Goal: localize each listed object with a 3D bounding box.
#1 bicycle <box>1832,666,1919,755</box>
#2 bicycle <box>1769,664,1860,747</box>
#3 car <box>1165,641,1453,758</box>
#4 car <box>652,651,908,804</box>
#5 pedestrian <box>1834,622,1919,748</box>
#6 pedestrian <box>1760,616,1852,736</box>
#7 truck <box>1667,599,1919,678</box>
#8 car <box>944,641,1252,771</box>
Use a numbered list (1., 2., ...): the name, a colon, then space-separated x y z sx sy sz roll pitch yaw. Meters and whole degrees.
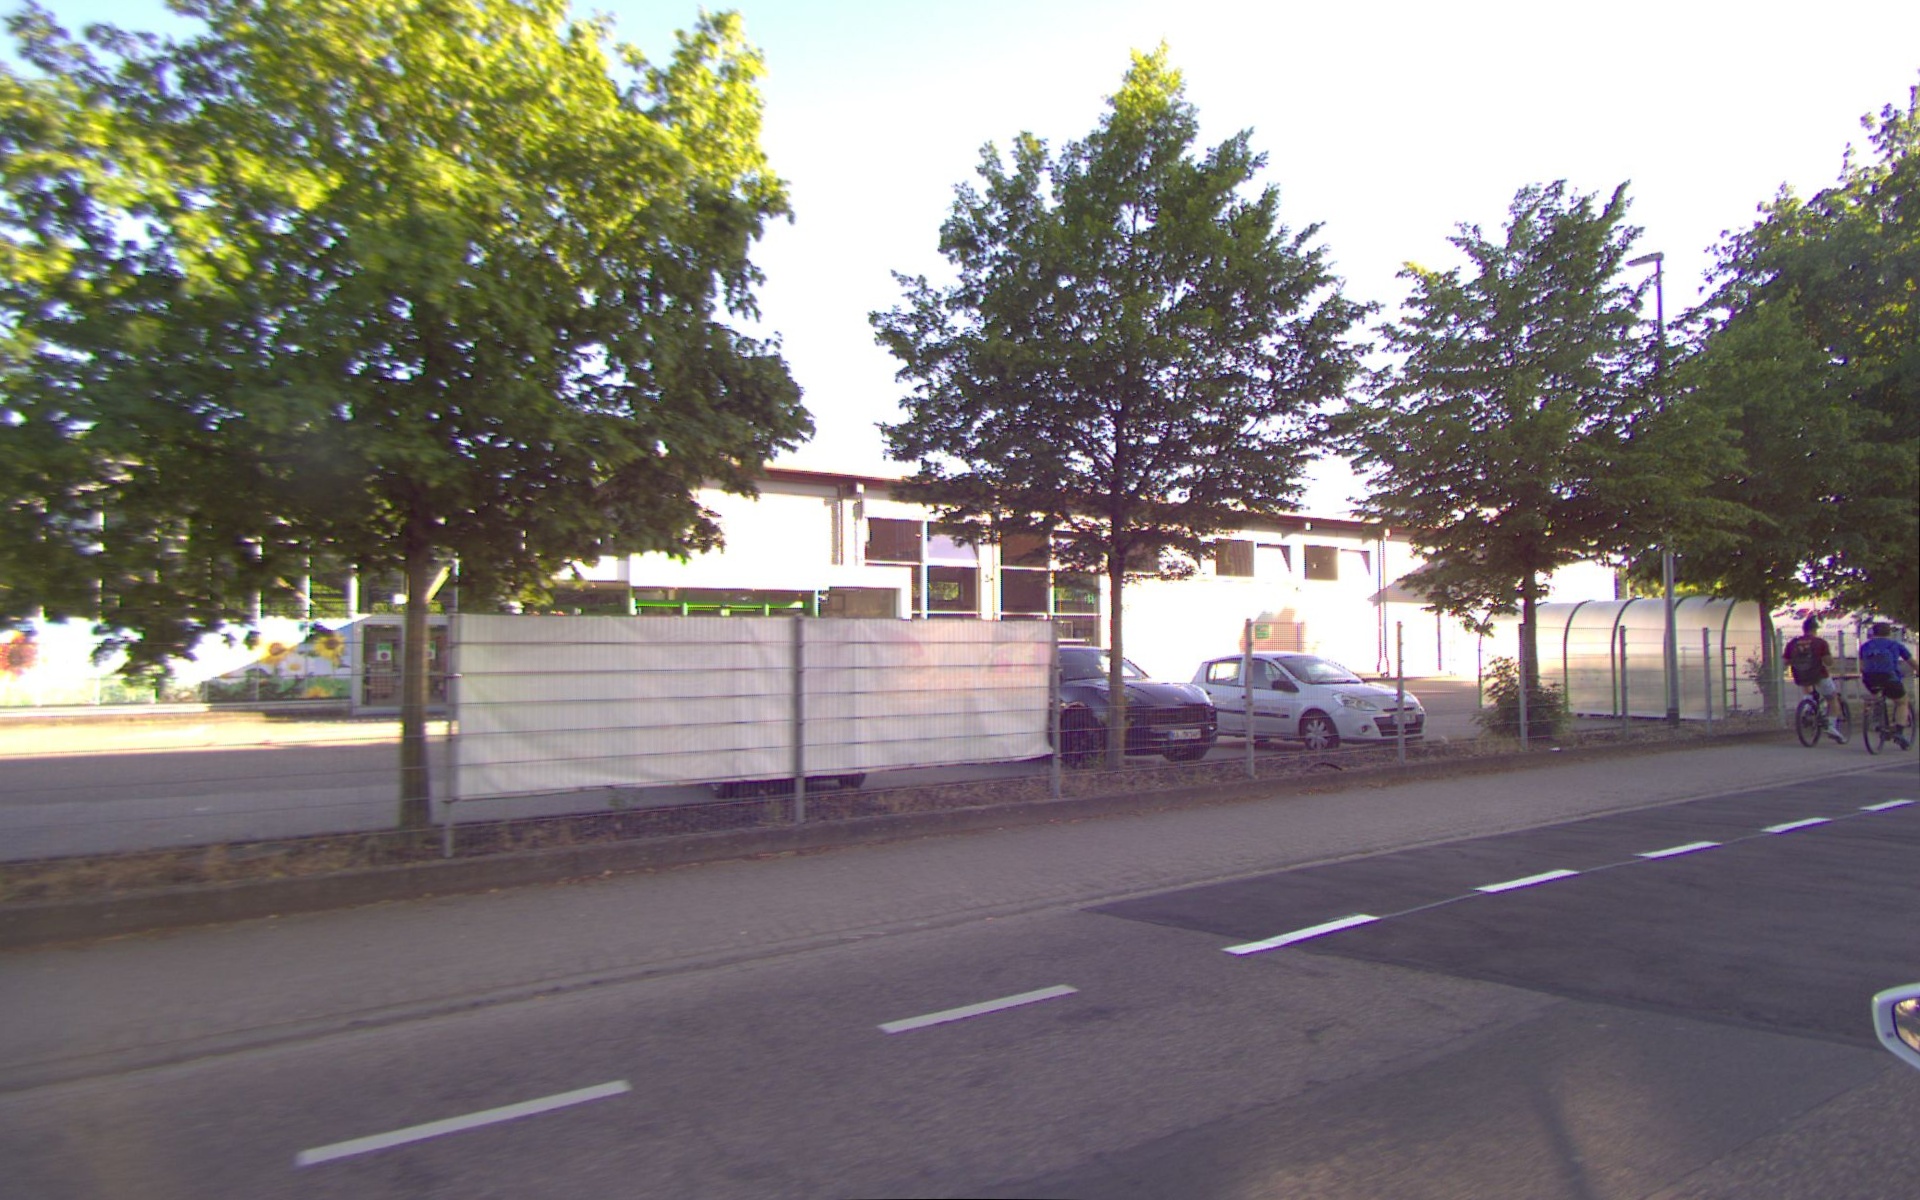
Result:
1. bicycle: 13.259 1.551 14.420 2.175 1.164 0.444 1 -1 -31
2. bicycle: 12.959 1.573 15.221 1.847 1.164 0.467 1 -1 -31
3. car: 5.165 1.495 15.368 1.766 1.530 3.870 1 -6 -32
4. car: -2.272 1.428 11.865 1.785 1.469 3.709 1 -5 -31
5. pedestrian: 13.295 1.203 14.479 1.045 1.743 0.717 1 -3 -30
6. pedestrian: 12.809 1.131 15.205 1.045 1.743 0.717 1 -3 -30
7. truck: 42.667 1.957 51.713 2.744 3.662 10.051 2 -2 -30
8. car: 1.706 1.419 13.855 2.029 1.469 4.166 1 -6 -31
